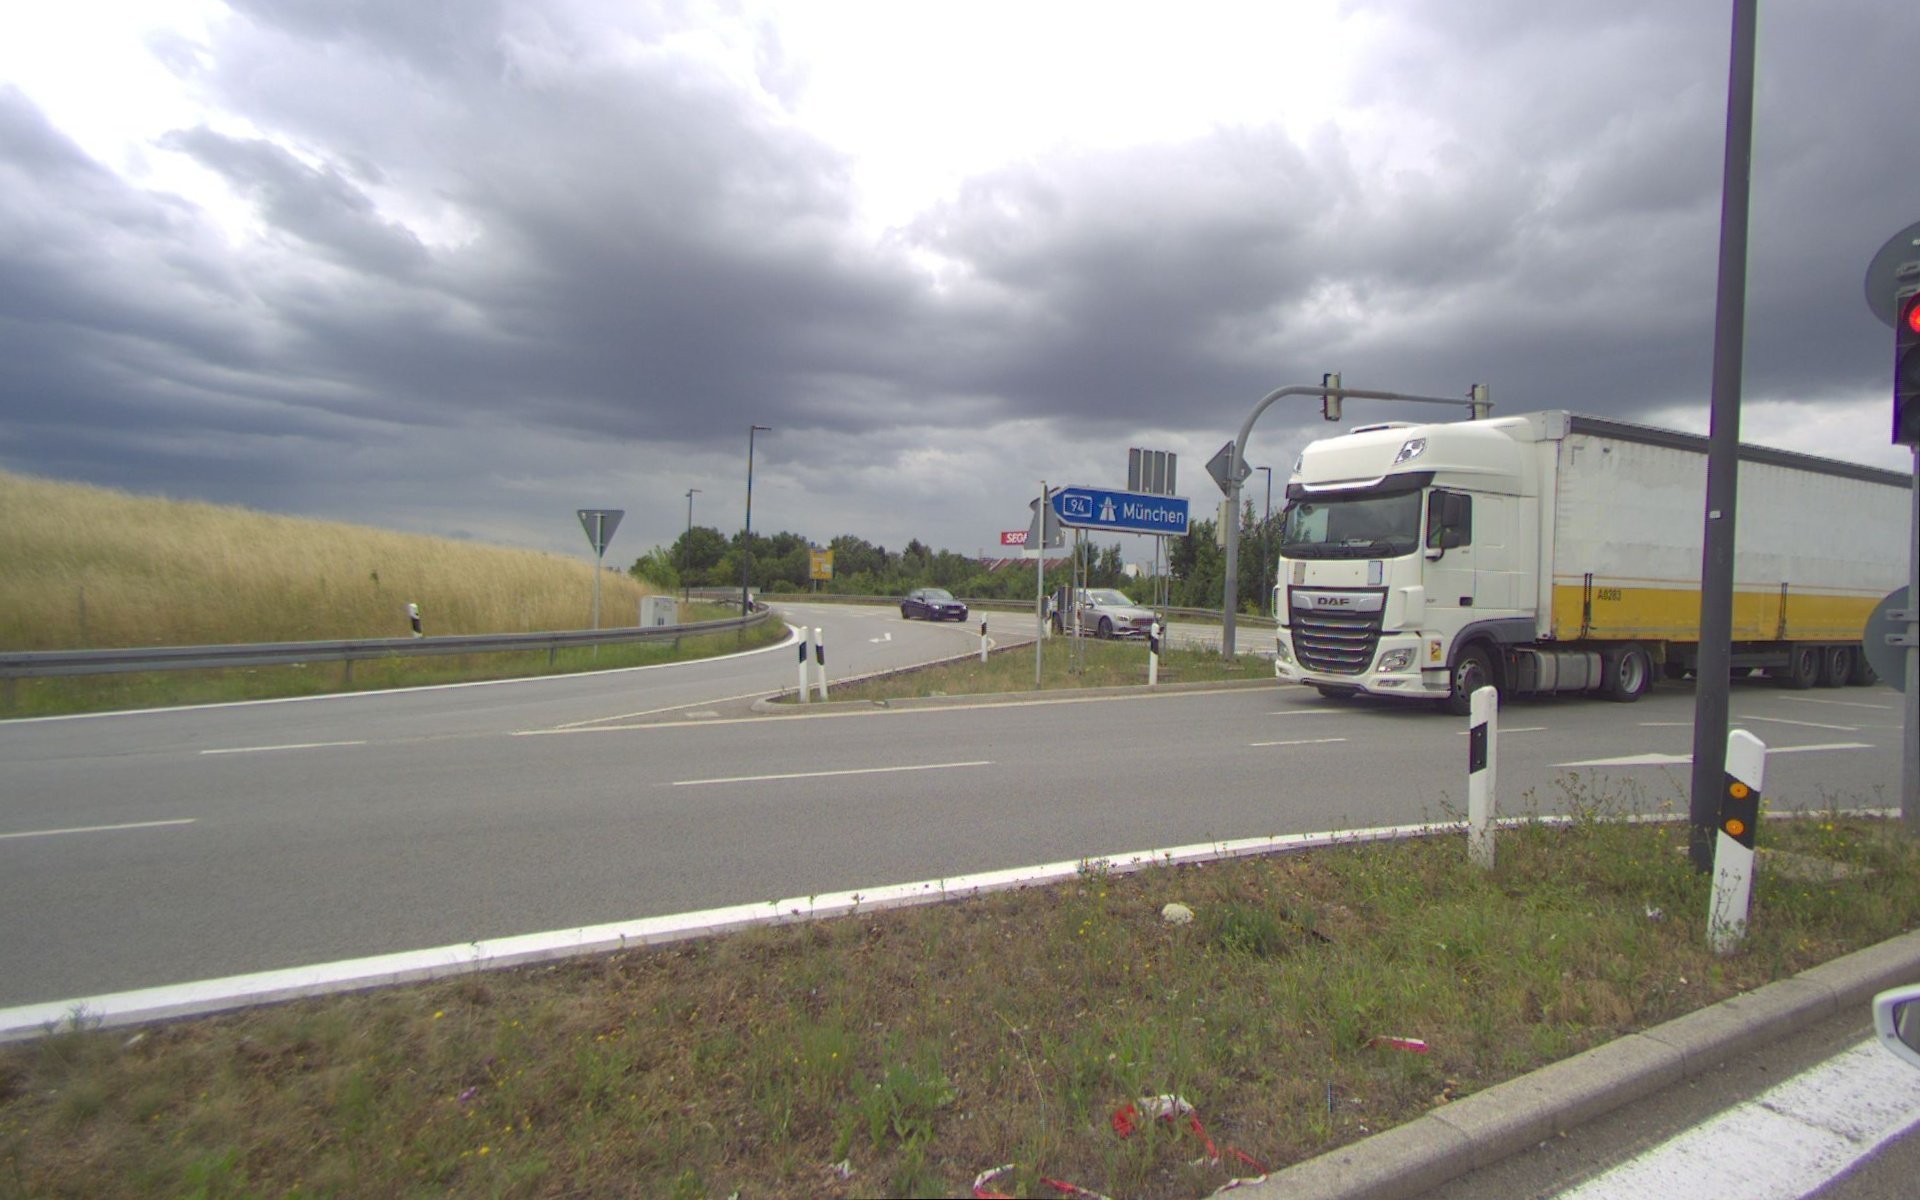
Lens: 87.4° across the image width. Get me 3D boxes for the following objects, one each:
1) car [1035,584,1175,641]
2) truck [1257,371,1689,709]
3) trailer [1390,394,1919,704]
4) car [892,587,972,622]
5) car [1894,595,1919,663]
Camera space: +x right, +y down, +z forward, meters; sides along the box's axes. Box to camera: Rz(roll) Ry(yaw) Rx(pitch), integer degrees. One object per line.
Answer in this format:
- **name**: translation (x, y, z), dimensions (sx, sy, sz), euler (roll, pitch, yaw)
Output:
- **car**: translation (4.425, 0.340, 31.441), dimensions (1.895, 1.632, 4.916), euler (1, 1, -26)
- **truck**: translation (7.813, -0.665, 15.150), dimensions (6.325, 4.196, 2.638), euler (2, 0, -29)
- **trailer**: translation (13.578, -0.515, 18.391), dimensions (13.674, 4.266, 2.680), euler (2, 0, -29)
- **car**: translation (-1.299, 0.181, 43.675), dimensions (1.690, 1.429, 4.644), euler (2, 0, -26)
- **car**: translation (26.447, 0.815, 26.120), dimensions (4.403, 1.716, 1.984), euler (2, 0, -30)
